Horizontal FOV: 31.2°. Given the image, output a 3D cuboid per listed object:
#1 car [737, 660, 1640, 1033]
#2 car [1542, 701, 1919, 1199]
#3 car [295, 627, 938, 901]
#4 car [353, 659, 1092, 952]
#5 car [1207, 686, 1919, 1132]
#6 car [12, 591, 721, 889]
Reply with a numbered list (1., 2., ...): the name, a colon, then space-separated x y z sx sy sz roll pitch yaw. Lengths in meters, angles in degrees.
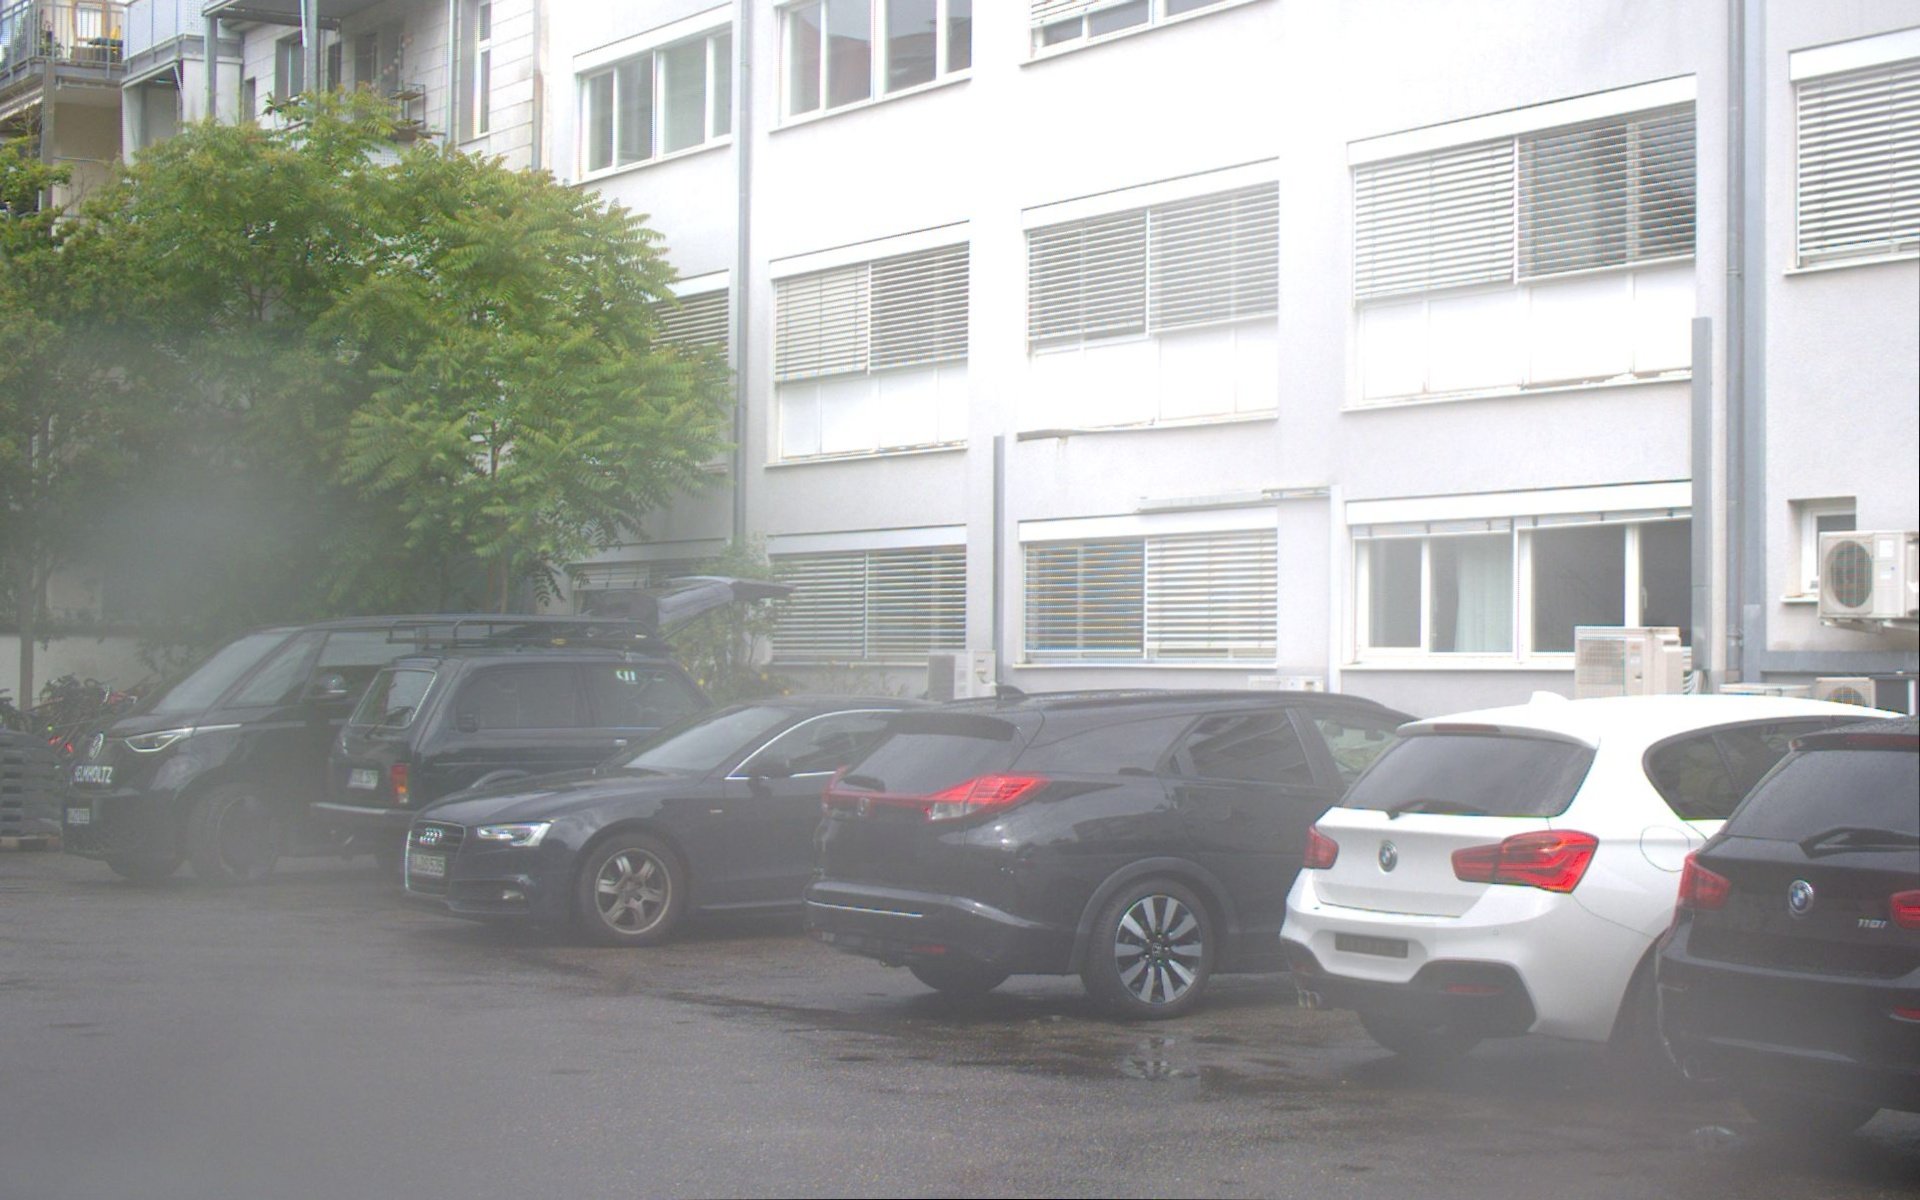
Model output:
1. car: 1.113 1.064 16.180 3.909 1.508 1.819 0 -1 -33
2. car: 4.005 1.035 11.051 3.987 1.398 1.773 -1 0 -30
3. car: -2.310 1.048 23.196 3.908 1.682 1.817 0 -1 -27
4. car: -1.356 1.122 20.005 3.909 1.508 1.752 0 -1 -31
5. car: 3.113 1.086 13.388 3.987 1.453 1.773 0 -1 -31
6. car: -4.317 0.933 25.275 4.636 1.996 2.225 0 0 -36
